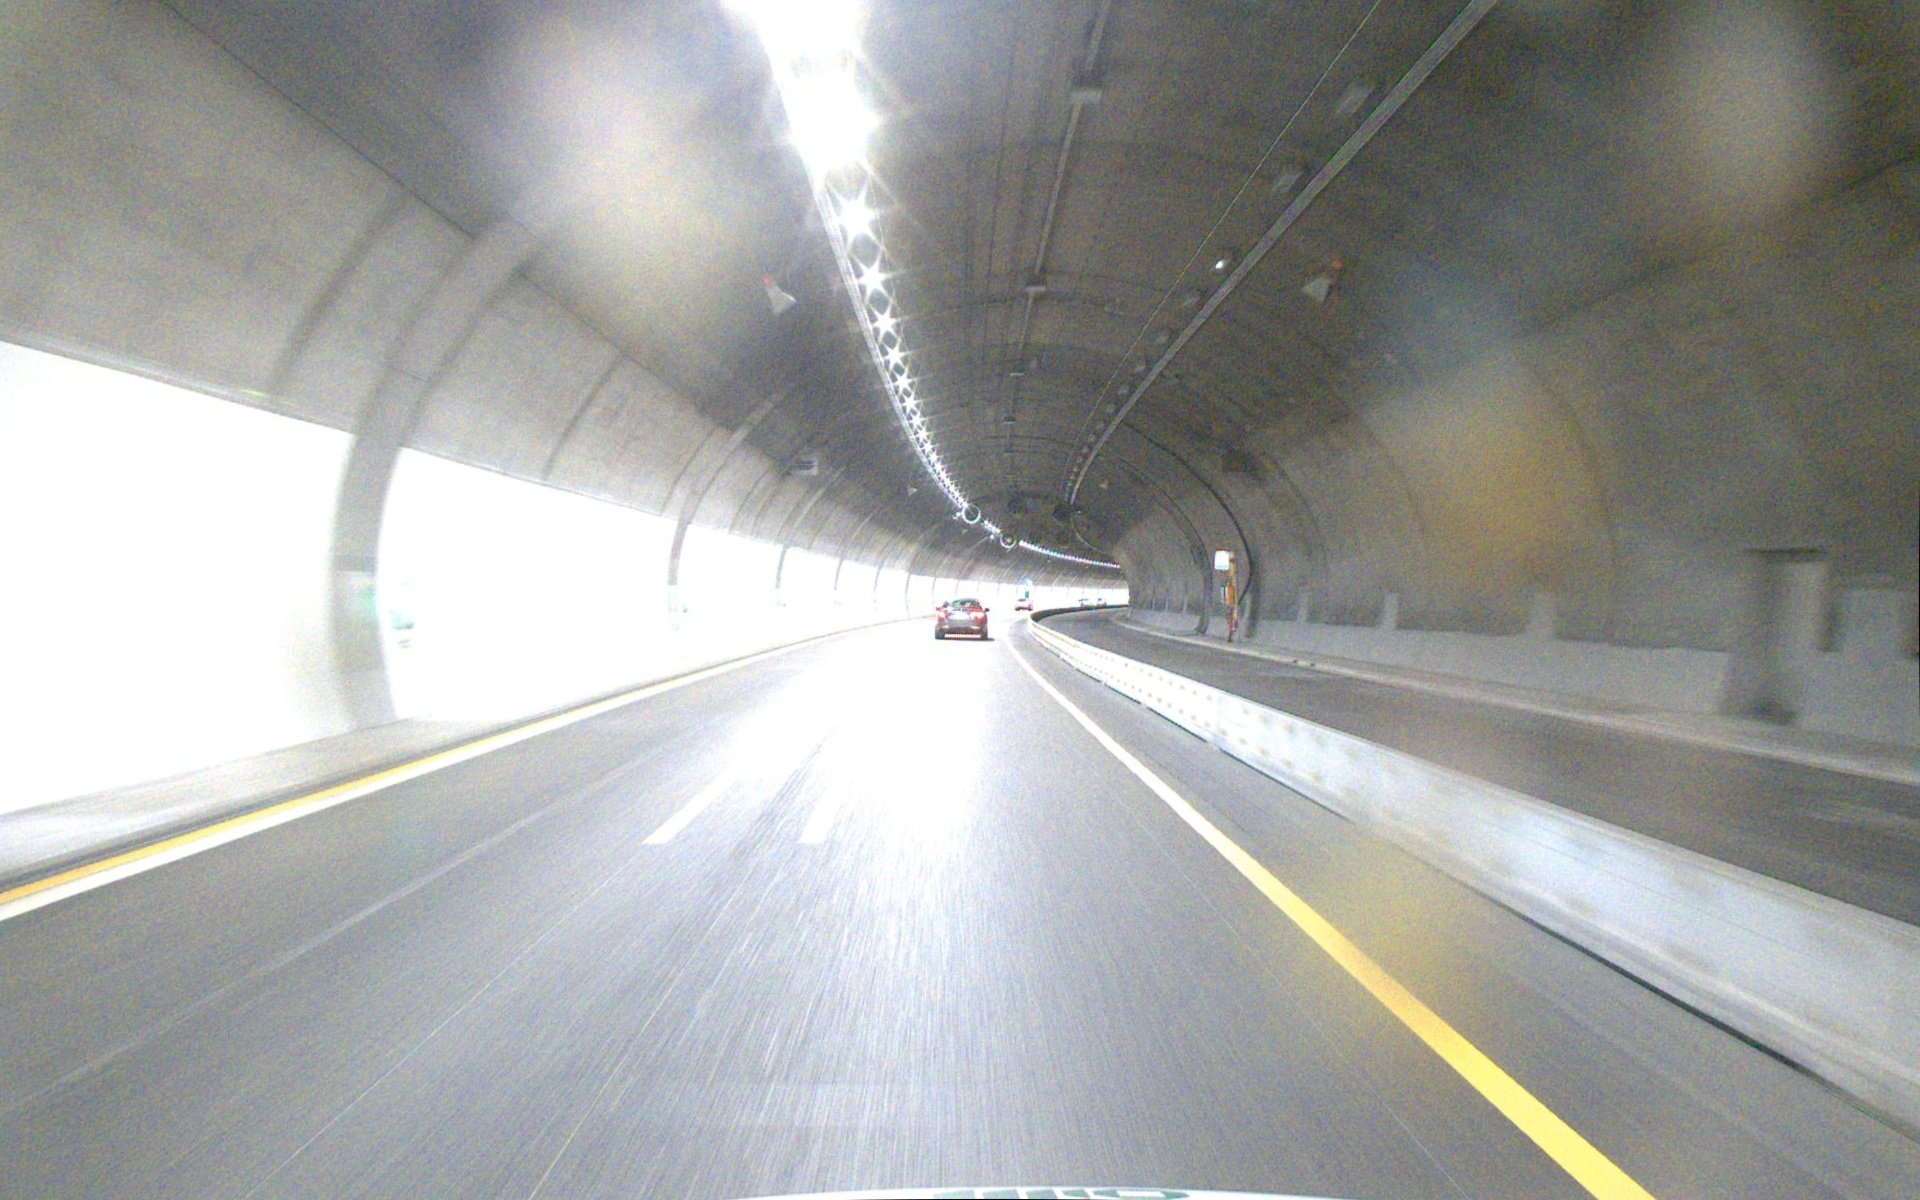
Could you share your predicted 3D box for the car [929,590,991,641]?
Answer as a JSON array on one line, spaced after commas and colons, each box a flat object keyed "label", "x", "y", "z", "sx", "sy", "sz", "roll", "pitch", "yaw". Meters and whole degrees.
[{"label": "car", "x": 0.042, "y": 0.518, "z": 58.637, "sx": 2.097, "sy": 1.735, "sz": 4.001, "roll": 1, "pitch": 0, "yaw": 1}]

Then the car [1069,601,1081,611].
[{"label": "car", "x": 16.394, "y": 0.835, "z": 235.515, "sx": 1.561, "sy": 1.356, "sz": 3.753, "roll": 1, "pitch": 0, "yaw": 8}]

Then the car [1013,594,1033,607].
[{"label": "car", "x": 7.445, "y": 0.070, "z": 193.963, "sx": 2.119, "sy": 1.512, "sz": 4.002, "roll": 1, "pitch": 0, "yaw": 5}]
